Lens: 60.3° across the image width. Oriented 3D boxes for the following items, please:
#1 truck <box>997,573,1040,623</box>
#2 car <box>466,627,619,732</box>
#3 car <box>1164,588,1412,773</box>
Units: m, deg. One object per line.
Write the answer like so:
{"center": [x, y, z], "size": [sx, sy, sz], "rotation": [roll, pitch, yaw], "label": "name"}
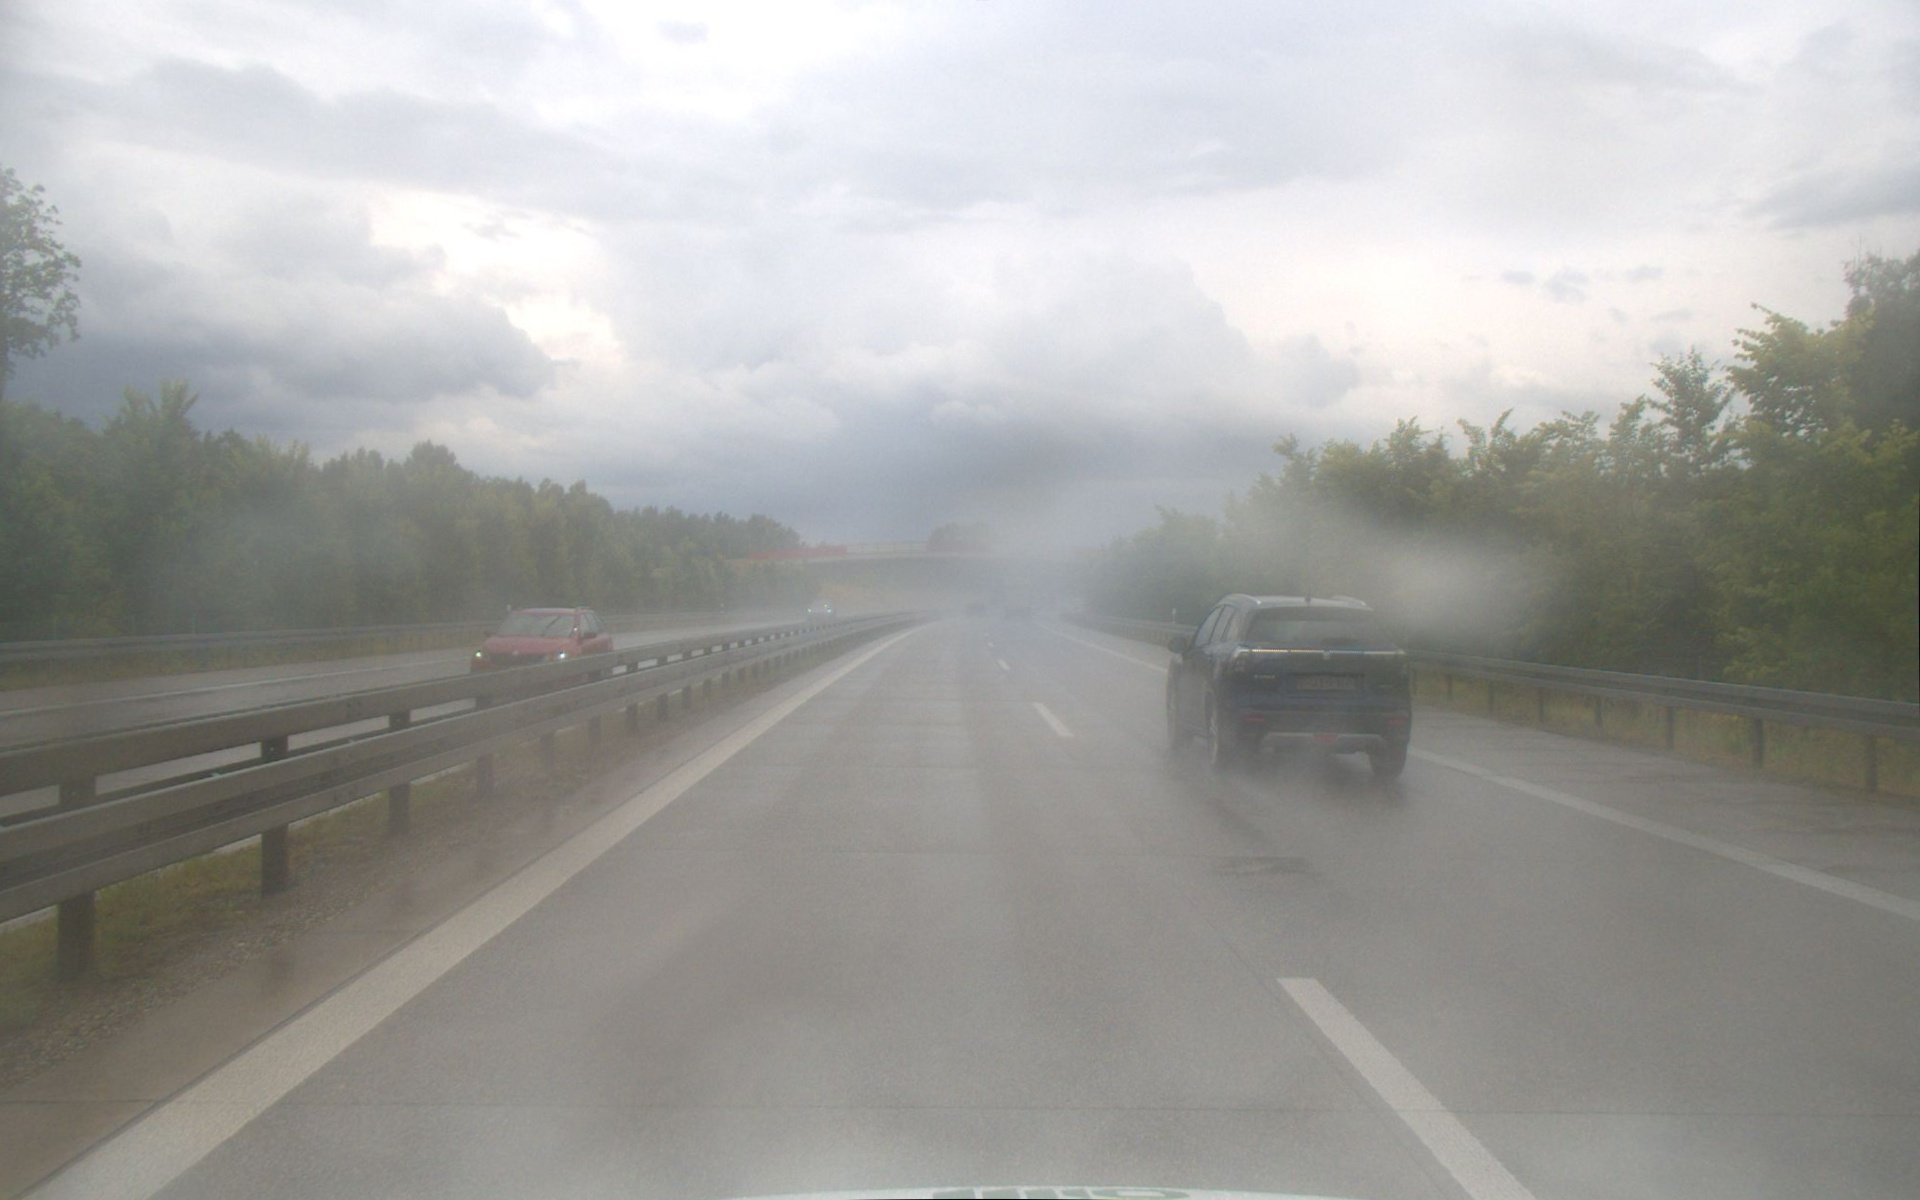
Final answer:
{"center": [5.459, -0.230, 153.371], "size": [3.174, 4.514, 8.252], "rotation": [0, 0, 7], "label": "truck"}
{"center": [-7.179, 1.324, 28.796], "size": [1.728, 1.489, 3.846], "rotation": [-2, 1, -2], "label": "car"}
{"center": [3.124, 0.713, 16.435], "size": [1.854, 1.603, 3.633], "rotation": [1, 0, 2], "label": "car"}
